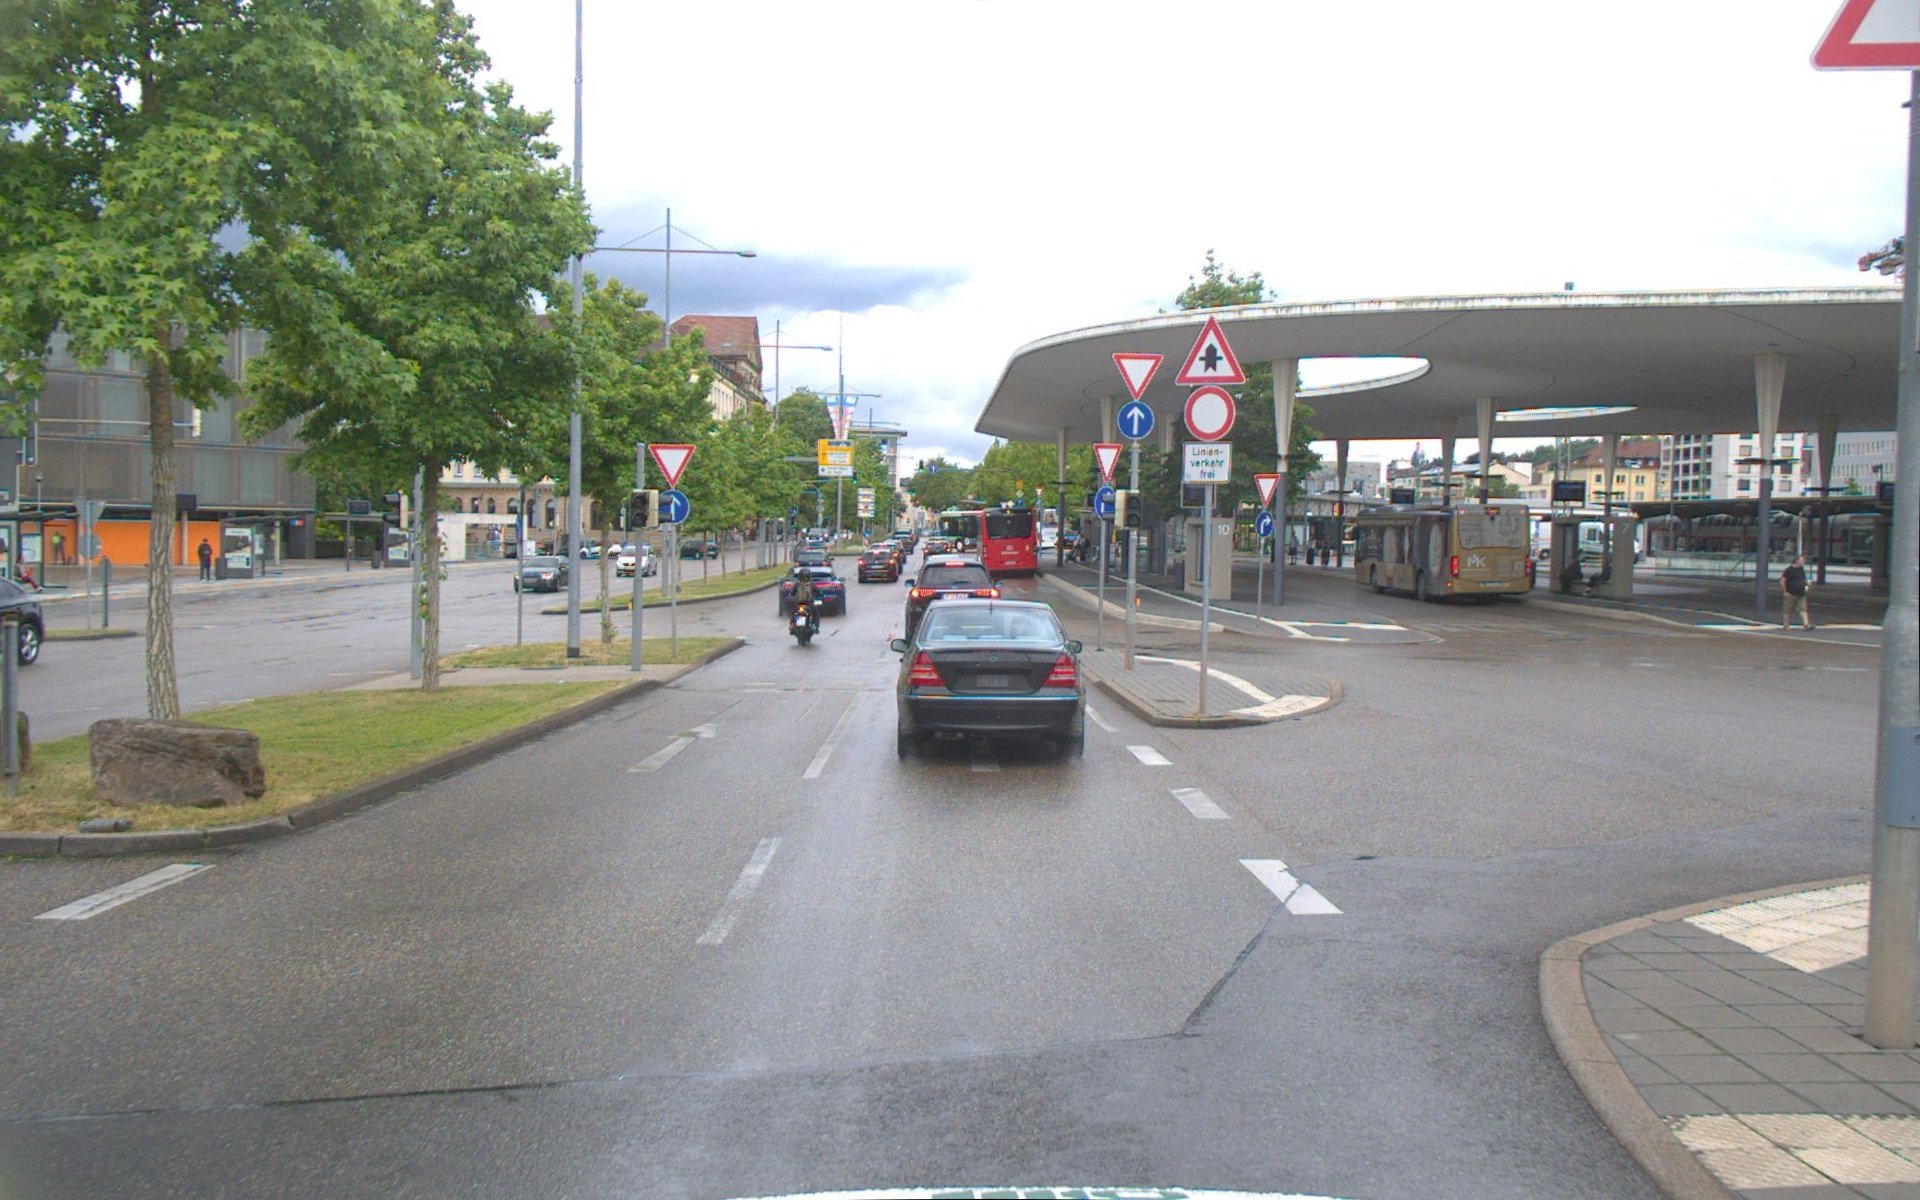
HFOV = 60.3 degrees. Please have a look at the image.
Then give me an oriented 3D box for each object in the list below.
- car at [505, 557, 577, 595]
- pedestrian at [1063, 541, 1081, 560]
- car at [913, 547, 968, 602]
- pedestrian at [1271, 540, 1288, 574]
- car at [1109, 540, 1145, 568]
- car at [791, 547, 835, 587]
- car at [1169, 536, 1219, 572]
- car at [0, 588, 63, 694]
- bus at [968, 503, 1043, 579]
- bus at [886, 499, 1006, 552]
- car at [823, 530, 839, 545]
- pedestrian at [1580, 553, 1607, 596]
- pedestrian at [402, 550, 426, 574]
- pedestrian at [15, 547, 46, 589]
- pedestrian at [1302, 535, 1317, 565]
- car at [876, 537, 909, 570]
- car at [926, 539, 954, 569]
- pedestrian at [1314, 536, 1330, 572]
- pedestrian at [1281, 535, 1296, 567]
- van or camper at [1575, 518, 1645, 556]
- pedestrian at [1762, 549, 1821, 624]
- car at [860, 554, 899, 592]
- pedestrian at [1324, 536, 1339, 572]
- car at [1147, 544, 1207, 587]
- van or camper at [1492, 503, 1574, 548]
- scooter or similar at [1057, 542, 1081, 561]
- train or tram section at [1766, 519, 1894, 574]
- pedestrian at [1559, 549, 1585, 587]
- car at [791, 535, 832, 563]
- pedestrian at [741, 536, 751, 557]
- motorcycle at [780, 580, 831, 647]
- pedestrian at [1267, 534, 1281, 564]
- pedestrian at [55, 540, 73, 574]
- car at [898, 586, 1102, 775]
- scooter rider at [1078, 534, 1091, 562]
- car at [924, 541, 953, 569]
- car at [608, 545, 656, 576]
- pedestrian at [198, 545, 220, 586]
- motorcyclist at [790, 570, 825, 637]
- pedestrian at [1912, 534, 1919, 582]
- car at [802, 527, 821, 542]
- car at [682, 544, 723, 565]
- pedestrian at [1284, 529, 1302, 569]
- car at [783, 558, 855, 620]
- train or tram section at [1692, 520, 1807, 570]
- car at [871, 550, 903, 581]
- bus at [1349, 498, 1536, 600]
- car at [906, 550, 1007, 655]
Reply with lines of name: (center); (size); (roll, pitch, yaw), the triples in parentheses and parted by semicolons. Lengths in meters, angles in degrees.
car: (-17.800, -1.065, 70.484); (1.809, 1.530, 4.920); (0, 2, 0)
pedestrian: (6.225, -2.733, 91.951); (0.894, 1.002, 0.634); (1, -2, 13)
car: (-0.648, -0.863, 54.123); (1.706, 1.594, 3.871); (-2, 3, -1)
pedestrian: (15.275, -2.061, 79.111); (0.587, 1.609, 0.710); (0, 0, -10)
car: (10.592, -2.928, 105.101); (1.677, 1.691, 4.239); (1, 2, -2)
car: (-6.598, -1.494, 74.476); (1.642, 1.651, 3.871); (-2, 3, -1)
car: (11.504, -2.282, 81.452); (1.677, 1.691, 4.239); (1, 2, -2)
car: (-17.212, 0.752, 27.848); (1.871, 1.690, 4.855); (0, 3, -5)
bus: (2.060, -2.888, 79.603); (3.219, 3.348, 10.880); (-1, 2, 0)
bus: (-1.226, -5.888, 131.544); (2.820, 4.056, 11.693); (-2, 2, -40)
car: (-14.380, -6.985, 184.461); (1.543, 1.594, 3.430); (-2, 3, -1)
pedestrian: (20.754, -0.839, 54.182); (0.776, 1.401, 0.634); (0, 2, 16)
pedestrian: (-31.751, -2.210, 96.123); (0.956, 1.289, 0.850); (4, 3, 19)
pedestrian: (-32.048, -1.106, 57.023); (0.665, 1.416, 0.720); (0, 2, -3)
pedestrian: (19.615, -2.805, 92.723); (0.569, 1.605, 0.559); (2, -2, 34)
car: (-3.447, -2.399, 84.977); (1.543, 1.594, 3.871); (-2, 3, -1)
car: (-1.154, -2.698, 96.178); (1.543, 1.594, 3.871); (-2, 3, -1)
pedestrian: (17.505, -2.223, 79.913); (0.549, 1.721, 0.613); (1, 2, -8)
pedestrian: (18.533, -2.757, 93.428); (0.569, 1.746, 0.559); (2, -2, 34)
van or camper: (40.167, -3.866, 102.396); (1.953, 2.139, 5.478); (3, 0, -2)
pedestrian: (19.411, -0.327, 38.636); (0.709, 1.713, 1.013); (-2, 2, -27)
car: (-3.636, -1.247, 75.185); (1.543, 1.530, 3.872); (-2, 3, 0)
pedestrian: (19.577, -2.422, 87.183); (0.578, 1.907, 0.715); (2, 3, 28)
car: (7.899, -1.281, 60.387); (1.614, 1.478, 3.237); (0, 3, -3)
van or camper: (37.612, -4.892, 108.644); (4.515, 2.602, 2.118); (3, 0, -3)
scooter or similar: (6.043, -2.683, 91.989); (1.216, 1.030, 0.765); (0, 2, 13)
train or tram section: (65.289, -4.109, 124.551); (3.069, 3.722, 11.615); (4, 2, -2)
pedestrian: (20.804, -1.090, 56.254); (0.776, 1.247, 0.634); (0, 2, 16)
car: (-10.134, -3.430, 112.600); (1.837, 1.713, 3.980); (4, 0, -18)
pedestrian: (-21.256, -5.357, 164.415); (0.715, 2.048, 0.819); (-2, 2, -27)
motorcycle: (-3.204, 0.263, 34.463); (0.776, 1.284, 1.856); (-1, 2, 2)
pedestrian: (17.530, -2.836, 92.394); (0.568, 1.605, 0.560); (3, -2, 28)
pedestrian: (-45.666, -2.198, 84.274); (0.465, 1.713, 0.642); (0, 2, 30)
car: (0.277, 0.641, 15.729); (1.663, 1.487, 4.303); (-1, 1, -2)
scooter rider: (6.915, -2.890, 91.800); (0.579, 1.515, 0.765); (0, 1, 13)
car: (-1.504, -3.052, 113.052); (1.828, 1.713, 3.999); (3, 0, -2)
car: (-18.000, -2.194, 90.926); (1.809, 1.681, 4.419); (0, 2, -1)
pedestrian: (-31.700, -1.459, 69.812); (0.464, 1.713, 0.764); (0, 2, 5)
motorcyclist: (-3.188, 0.062, 34.665); (0.628, 1.370, 0.689); (-1, 2, 2)
pedestrian: (33.208, -1.421, 56.456); (0.779, 1.613, 0.907); (2, 1, -7)
car: (-16.016, -7.081, 178.466); (1.744, 1.594, 3.430); (-2, 3, -1)
car: (-19.705, -3.466, 126.484); (1.712, 1.588, 3.724); (1, 0, -34)
pedestrian: (17.896, -2.742, 88.923); (0.709, 2.049, 0.669); (3, -2, 25)
car: (-4.139, -0.369, 49.043); (1.779, 1.597, 4.404); (-2, 3, -1)
train or tram section: (64.974, -4.620, 136.532); (3.069, 3.722, 12.323); (4, 2, -2)
car: (-4.567, -2.152, 103.250); (1.828, 1.713, 3.999); (3, 0, -2)
bus: (16.187, -1.798, 56.616); (2.666, 3.096, 12.089); (-1, 2, -1)
car: (-0.111, -0.017, 34.783); (1.918, 1.908, 4.874); (-2, 3, -1)
